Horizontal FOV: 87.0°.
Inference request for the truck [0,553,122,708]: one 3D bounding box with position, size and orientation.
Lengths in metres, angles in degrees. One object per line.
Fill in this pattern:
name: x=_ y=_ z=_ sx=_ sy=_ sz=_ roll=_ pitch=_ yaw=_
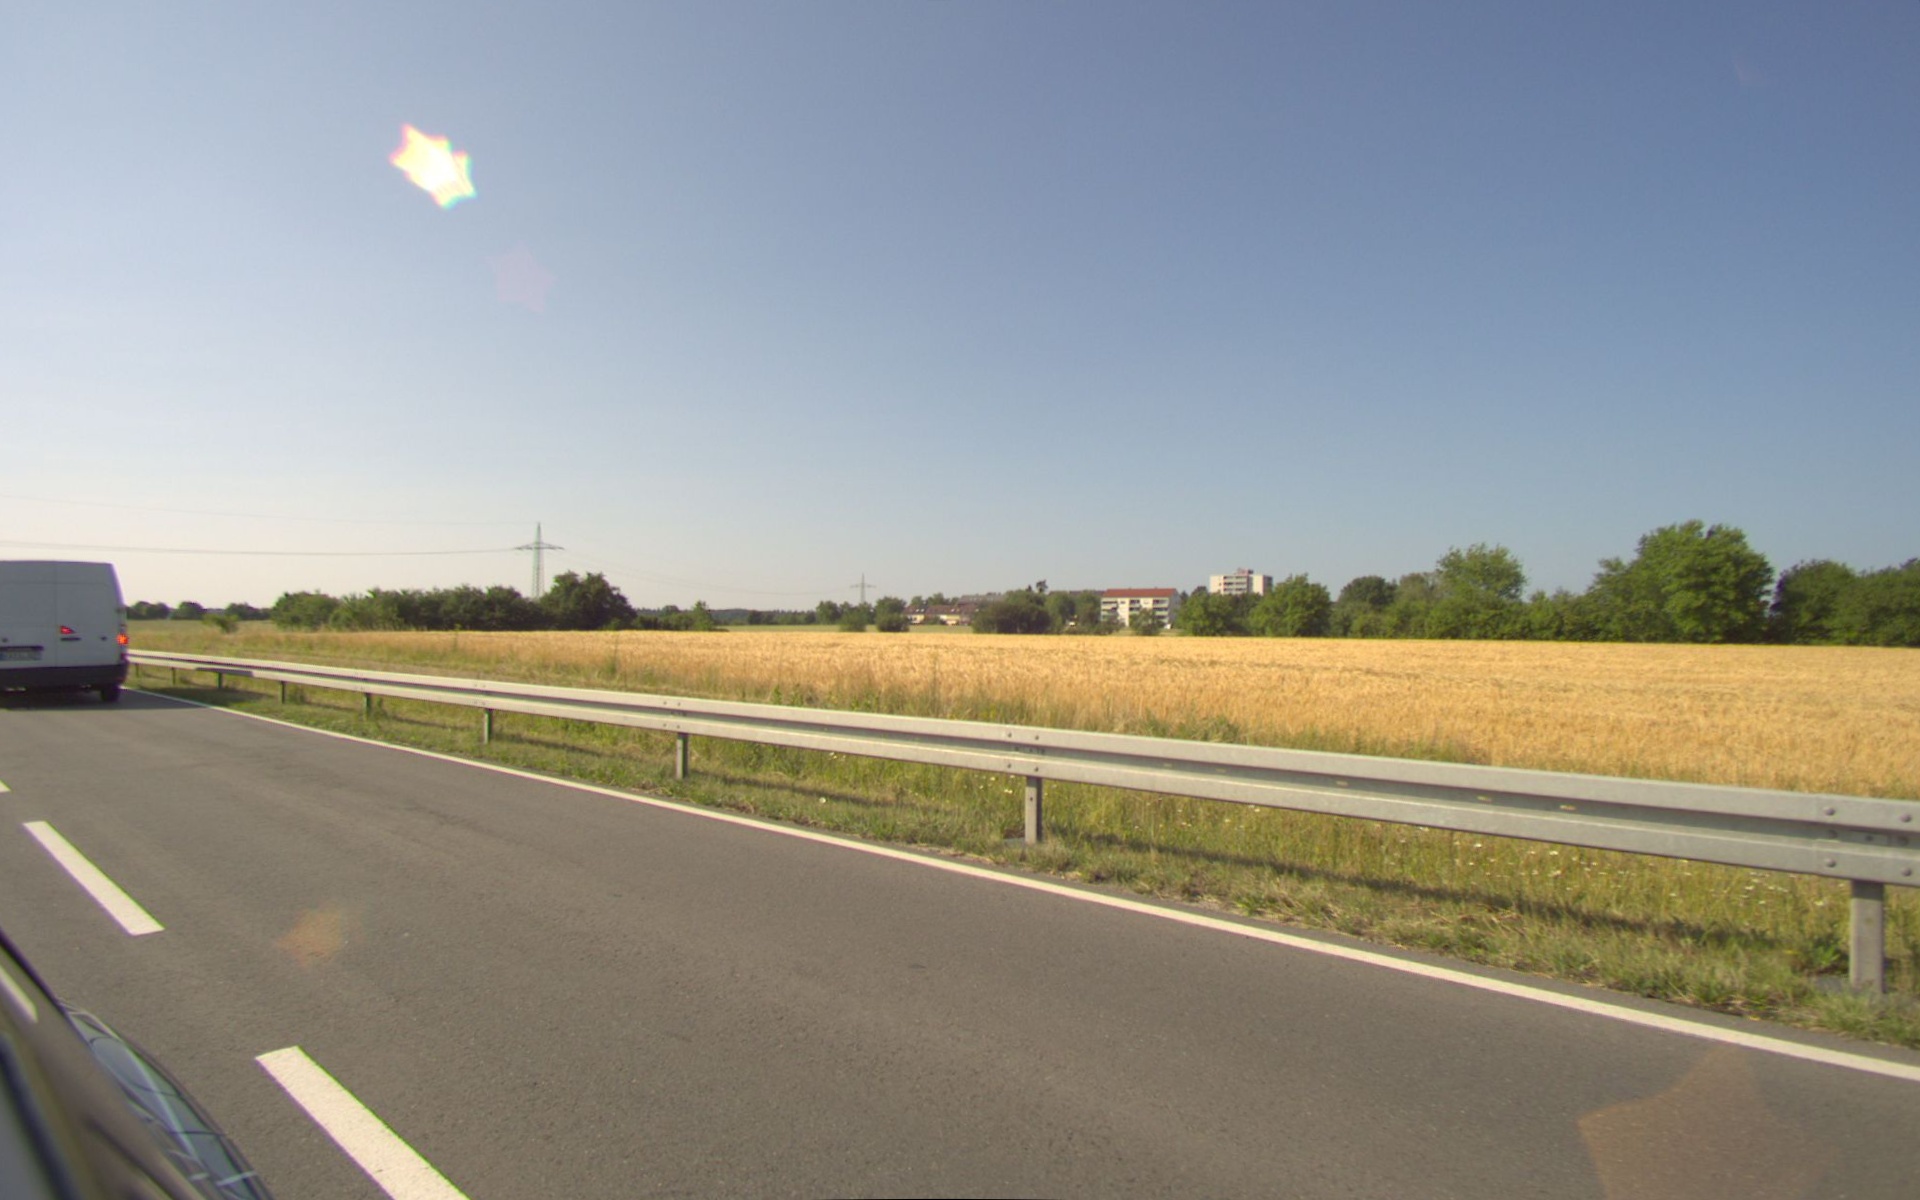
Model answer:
truck: x=-17.651 y=0.561 z=19.040 sx=6.241 sy=2.539 sz=1.972 roll=-1 pitch=-2 yaw=42
